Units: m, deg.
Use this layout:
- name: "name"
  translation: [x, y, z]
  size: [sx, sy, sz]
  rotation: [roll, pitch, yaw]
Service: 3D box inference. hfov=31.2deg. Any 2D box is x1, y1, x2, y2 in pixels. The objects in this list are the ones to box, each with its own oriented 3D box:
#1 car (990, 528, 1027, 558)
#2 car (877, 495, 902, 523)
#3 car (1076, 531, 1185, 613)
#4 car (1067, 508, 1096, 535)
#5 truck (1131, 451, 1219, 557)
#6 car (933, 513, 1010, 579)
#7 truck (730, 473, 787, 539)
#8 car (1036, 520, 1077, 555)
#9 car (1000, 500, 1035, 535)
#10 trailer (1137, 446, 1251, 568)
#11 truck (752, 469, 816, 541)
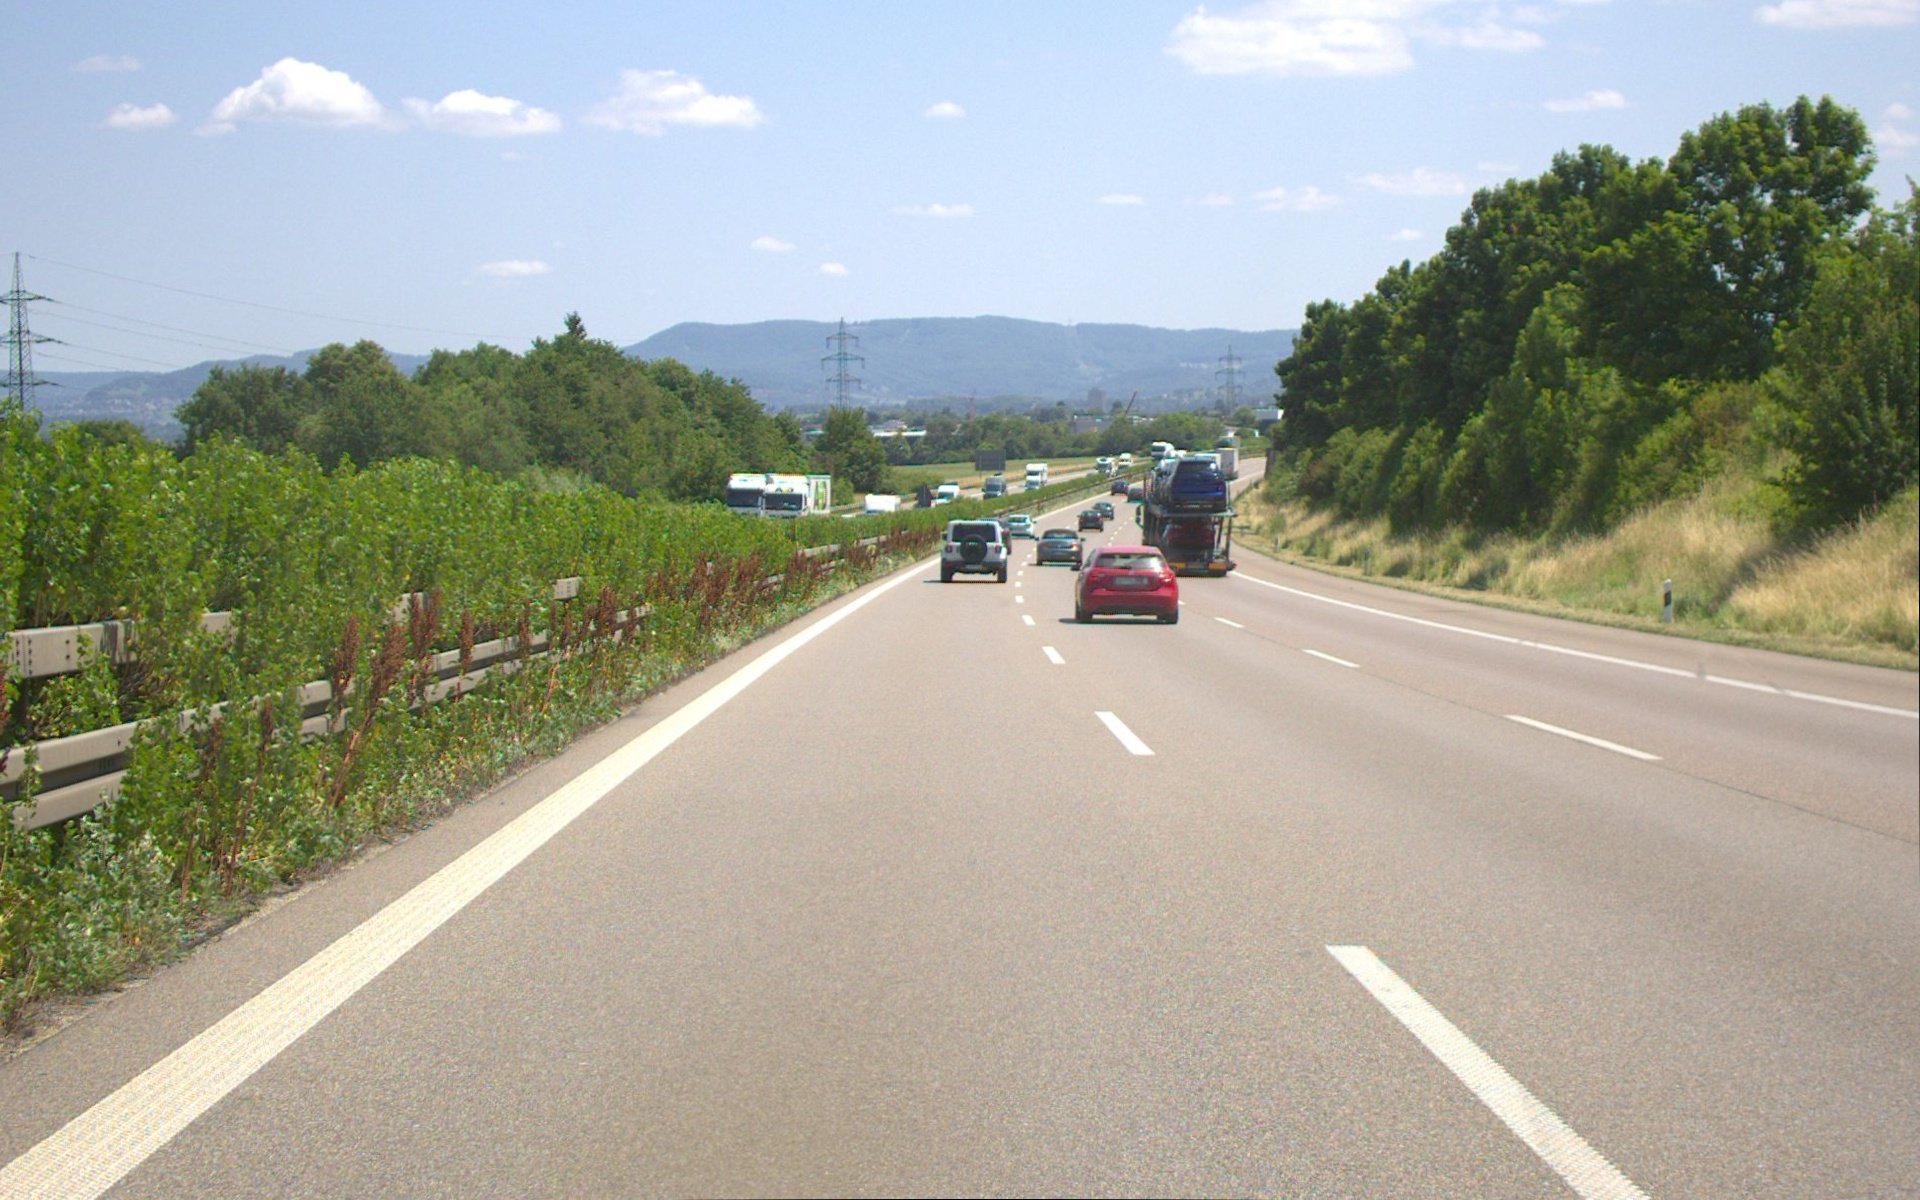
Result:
- name: "car"
  translation: [2.217, -2.596, 156.492]
  size: [1.456, 1.263, 3.337]
  rotation: [1, 2, 5]
- name: "car"
  translation: [-5.321, -6.859, 259.224]
  size: [1.794, 2.006, 4.001]
  rotation: [1, 2, 0]
- name: "car"
  translation: [3.127, -0.547, 63.504]
  size: [1.686, 1.374, 3.949]
  rotation: [1, 2, -2]
- name: "car"
  translation: [8.129, -5.279, 230.359]
  size: [1.636, 1.699, 3.400]
  rotation: [1, 2, 7]
- name: "truck"
  translation: [8.020, -3.617, 128.834]
  size: [2.754, 3.839, 6.645]
  rotation: [1, 2, -1]
- name: "car"
  translation: [0.313, -1.640, 102.511]
  size: [2.083, 1.823, 4.754]
  rotation: [1, 2, -2]
- name: "truck"
  translation: [-12.796, -5.998, 218.697]
  size: [3.011, 4.095, 5.621]
  rotation: [1, 2, 3]
- name: "car"
  translation: [3.735, -2.425, 133.186]
  size: [1.452, 1.263, 3.539]
  rotation: [1, 2, 0]
- name: "car"
  translation: [3.421, -4.893, 203.432]
  size: [1.698, 2.006, 3.821]
  rotation: [1, 2, 7]
- name: "trailer"
  translation: [8.099, -3.347, 121.012]
  size: [2.855, 3.979, 15.398]
  rotation: [1, 2, 0]
- name: "truck"
  translation: [-10.161, -5.527, 198.966]
  size: [3.176, 4.095, 5.226]
  rotation: [1, 2, 3]
